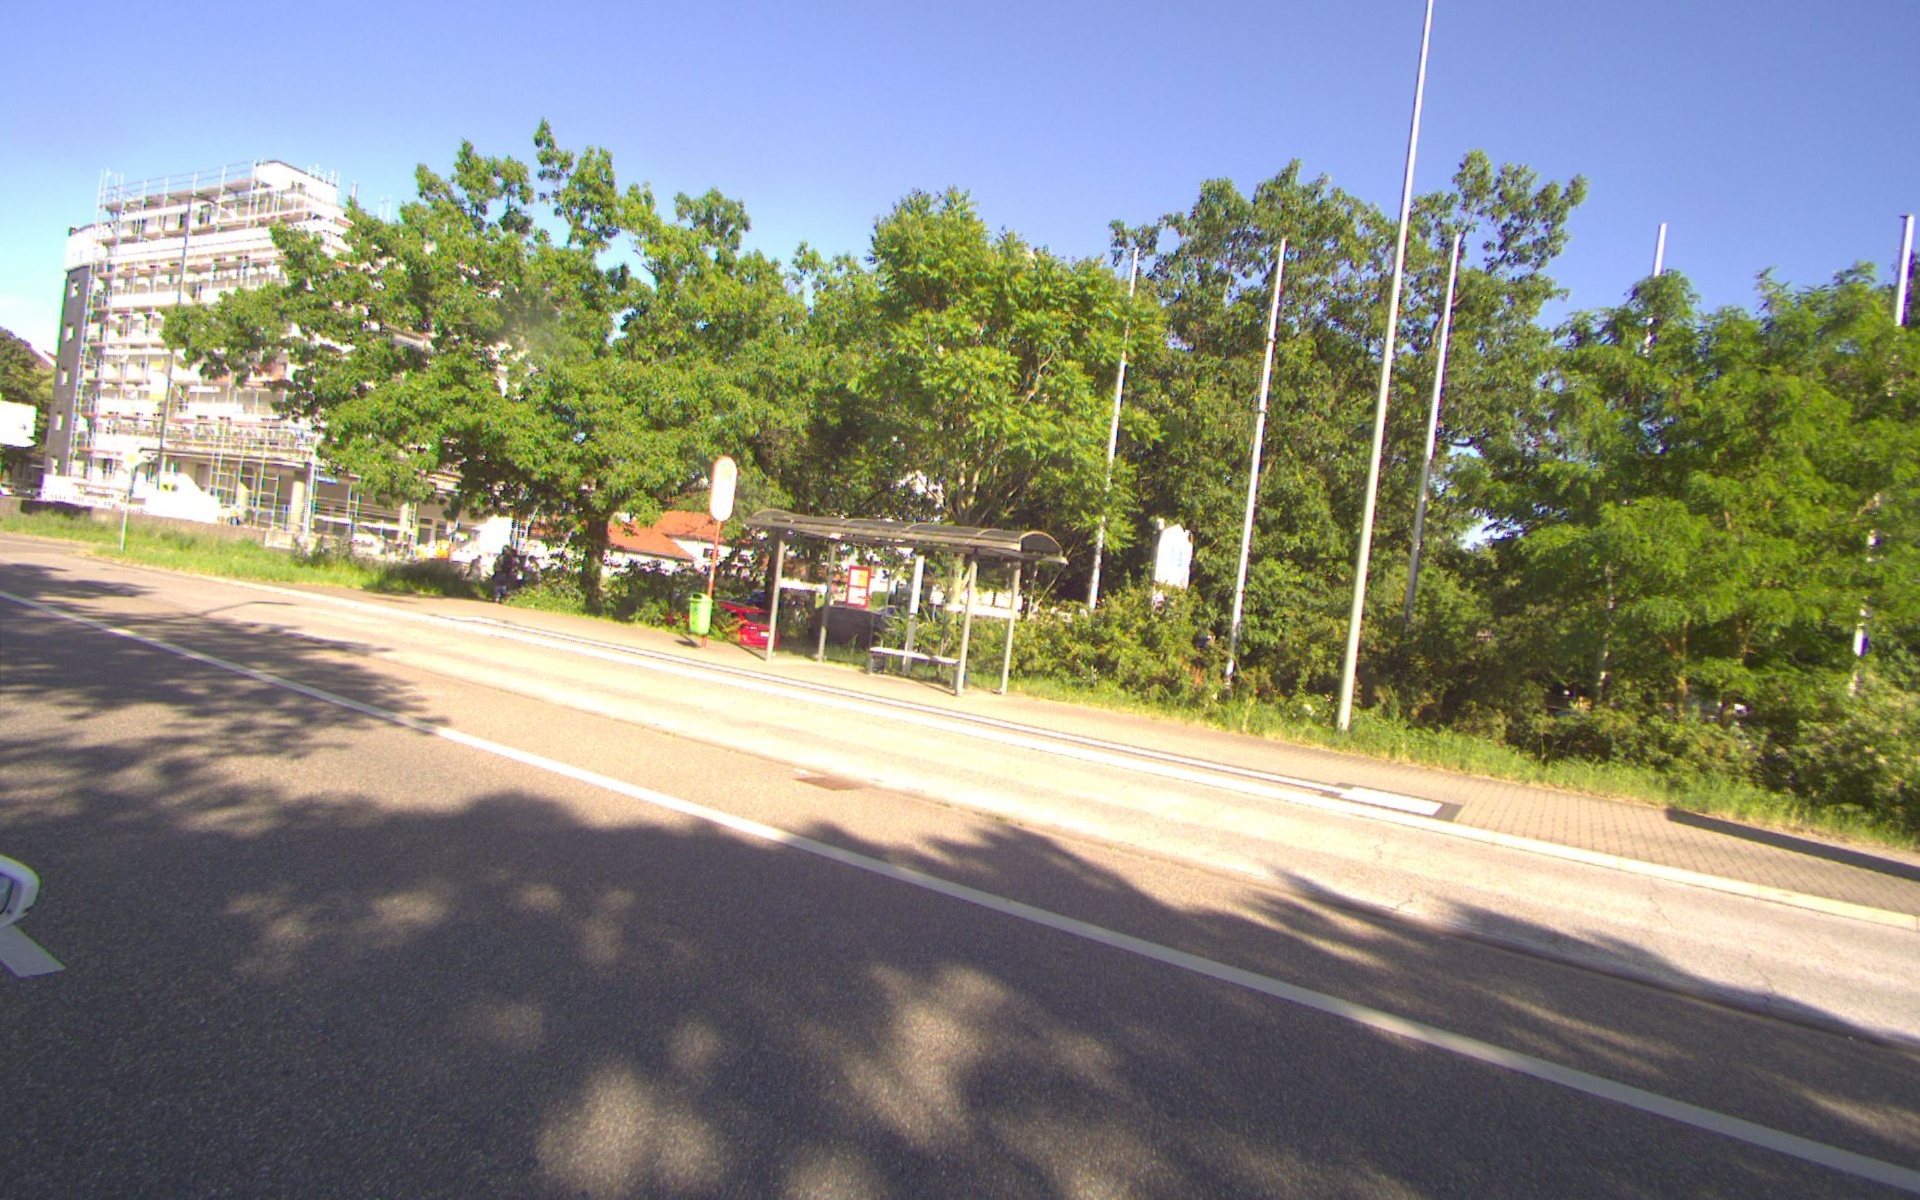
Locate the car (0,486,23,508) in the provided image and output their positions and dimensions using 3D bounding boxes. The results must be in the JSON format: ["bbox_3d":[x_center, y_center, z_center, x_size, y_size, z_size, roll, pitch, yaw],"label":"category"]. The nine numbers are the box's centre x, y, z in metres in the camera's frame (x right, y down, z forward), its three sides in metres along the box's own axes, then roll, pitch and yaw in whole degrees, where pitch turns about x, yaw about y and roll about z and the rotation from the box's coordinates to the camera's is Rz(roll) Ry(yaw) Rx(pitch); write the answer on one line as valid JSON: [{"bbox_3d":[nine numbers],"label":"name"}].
[{"bbox_3d":[-66.611,-7.211,70.162,1.521,1.330,3.250,7,0,-40],"label":"car"}]

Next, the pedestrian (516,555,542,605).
[{"bbox_3d":[-13.422,-0.634,31.333,0.517,1.465,0.587,7,1,-32],"label":"pedestrian"}]

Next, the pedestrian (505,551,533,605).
[{"bbox_3d":[-12.775,-0.636,29.130,0.517,1.465,0.587,7,1,-32],"label":"pedestrian"}]

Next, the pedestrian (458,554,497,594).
[{"bbox_3d":[-19.530,-1.055,40.737,0.948,1.465,0.895,7,0,17],"label":"pedestrian"}]

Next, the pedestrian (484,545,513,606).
[{"bbox_3d":[-13.048,-0.703,28.423,0.517,1.632,0.587,7,1,-32],"label":"pedestrian"}]

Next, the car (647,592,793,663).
[{"bbox_3d":[-6.874,0.795,28.747,3.680,1.504,1.755,7,0,28],"label":"car"}]

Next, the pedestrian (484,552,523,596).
[{"bbox_3d":[-19.021,-1.093,41.917,0.969,1.674,0.891,7,0,16],"label":"pedestrian"}]

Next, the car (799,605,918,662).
[{"bbox_3d":[-3.587,1.181,35.980,3.674,1.504,1.914,7,0,13],"label":"car"}]
